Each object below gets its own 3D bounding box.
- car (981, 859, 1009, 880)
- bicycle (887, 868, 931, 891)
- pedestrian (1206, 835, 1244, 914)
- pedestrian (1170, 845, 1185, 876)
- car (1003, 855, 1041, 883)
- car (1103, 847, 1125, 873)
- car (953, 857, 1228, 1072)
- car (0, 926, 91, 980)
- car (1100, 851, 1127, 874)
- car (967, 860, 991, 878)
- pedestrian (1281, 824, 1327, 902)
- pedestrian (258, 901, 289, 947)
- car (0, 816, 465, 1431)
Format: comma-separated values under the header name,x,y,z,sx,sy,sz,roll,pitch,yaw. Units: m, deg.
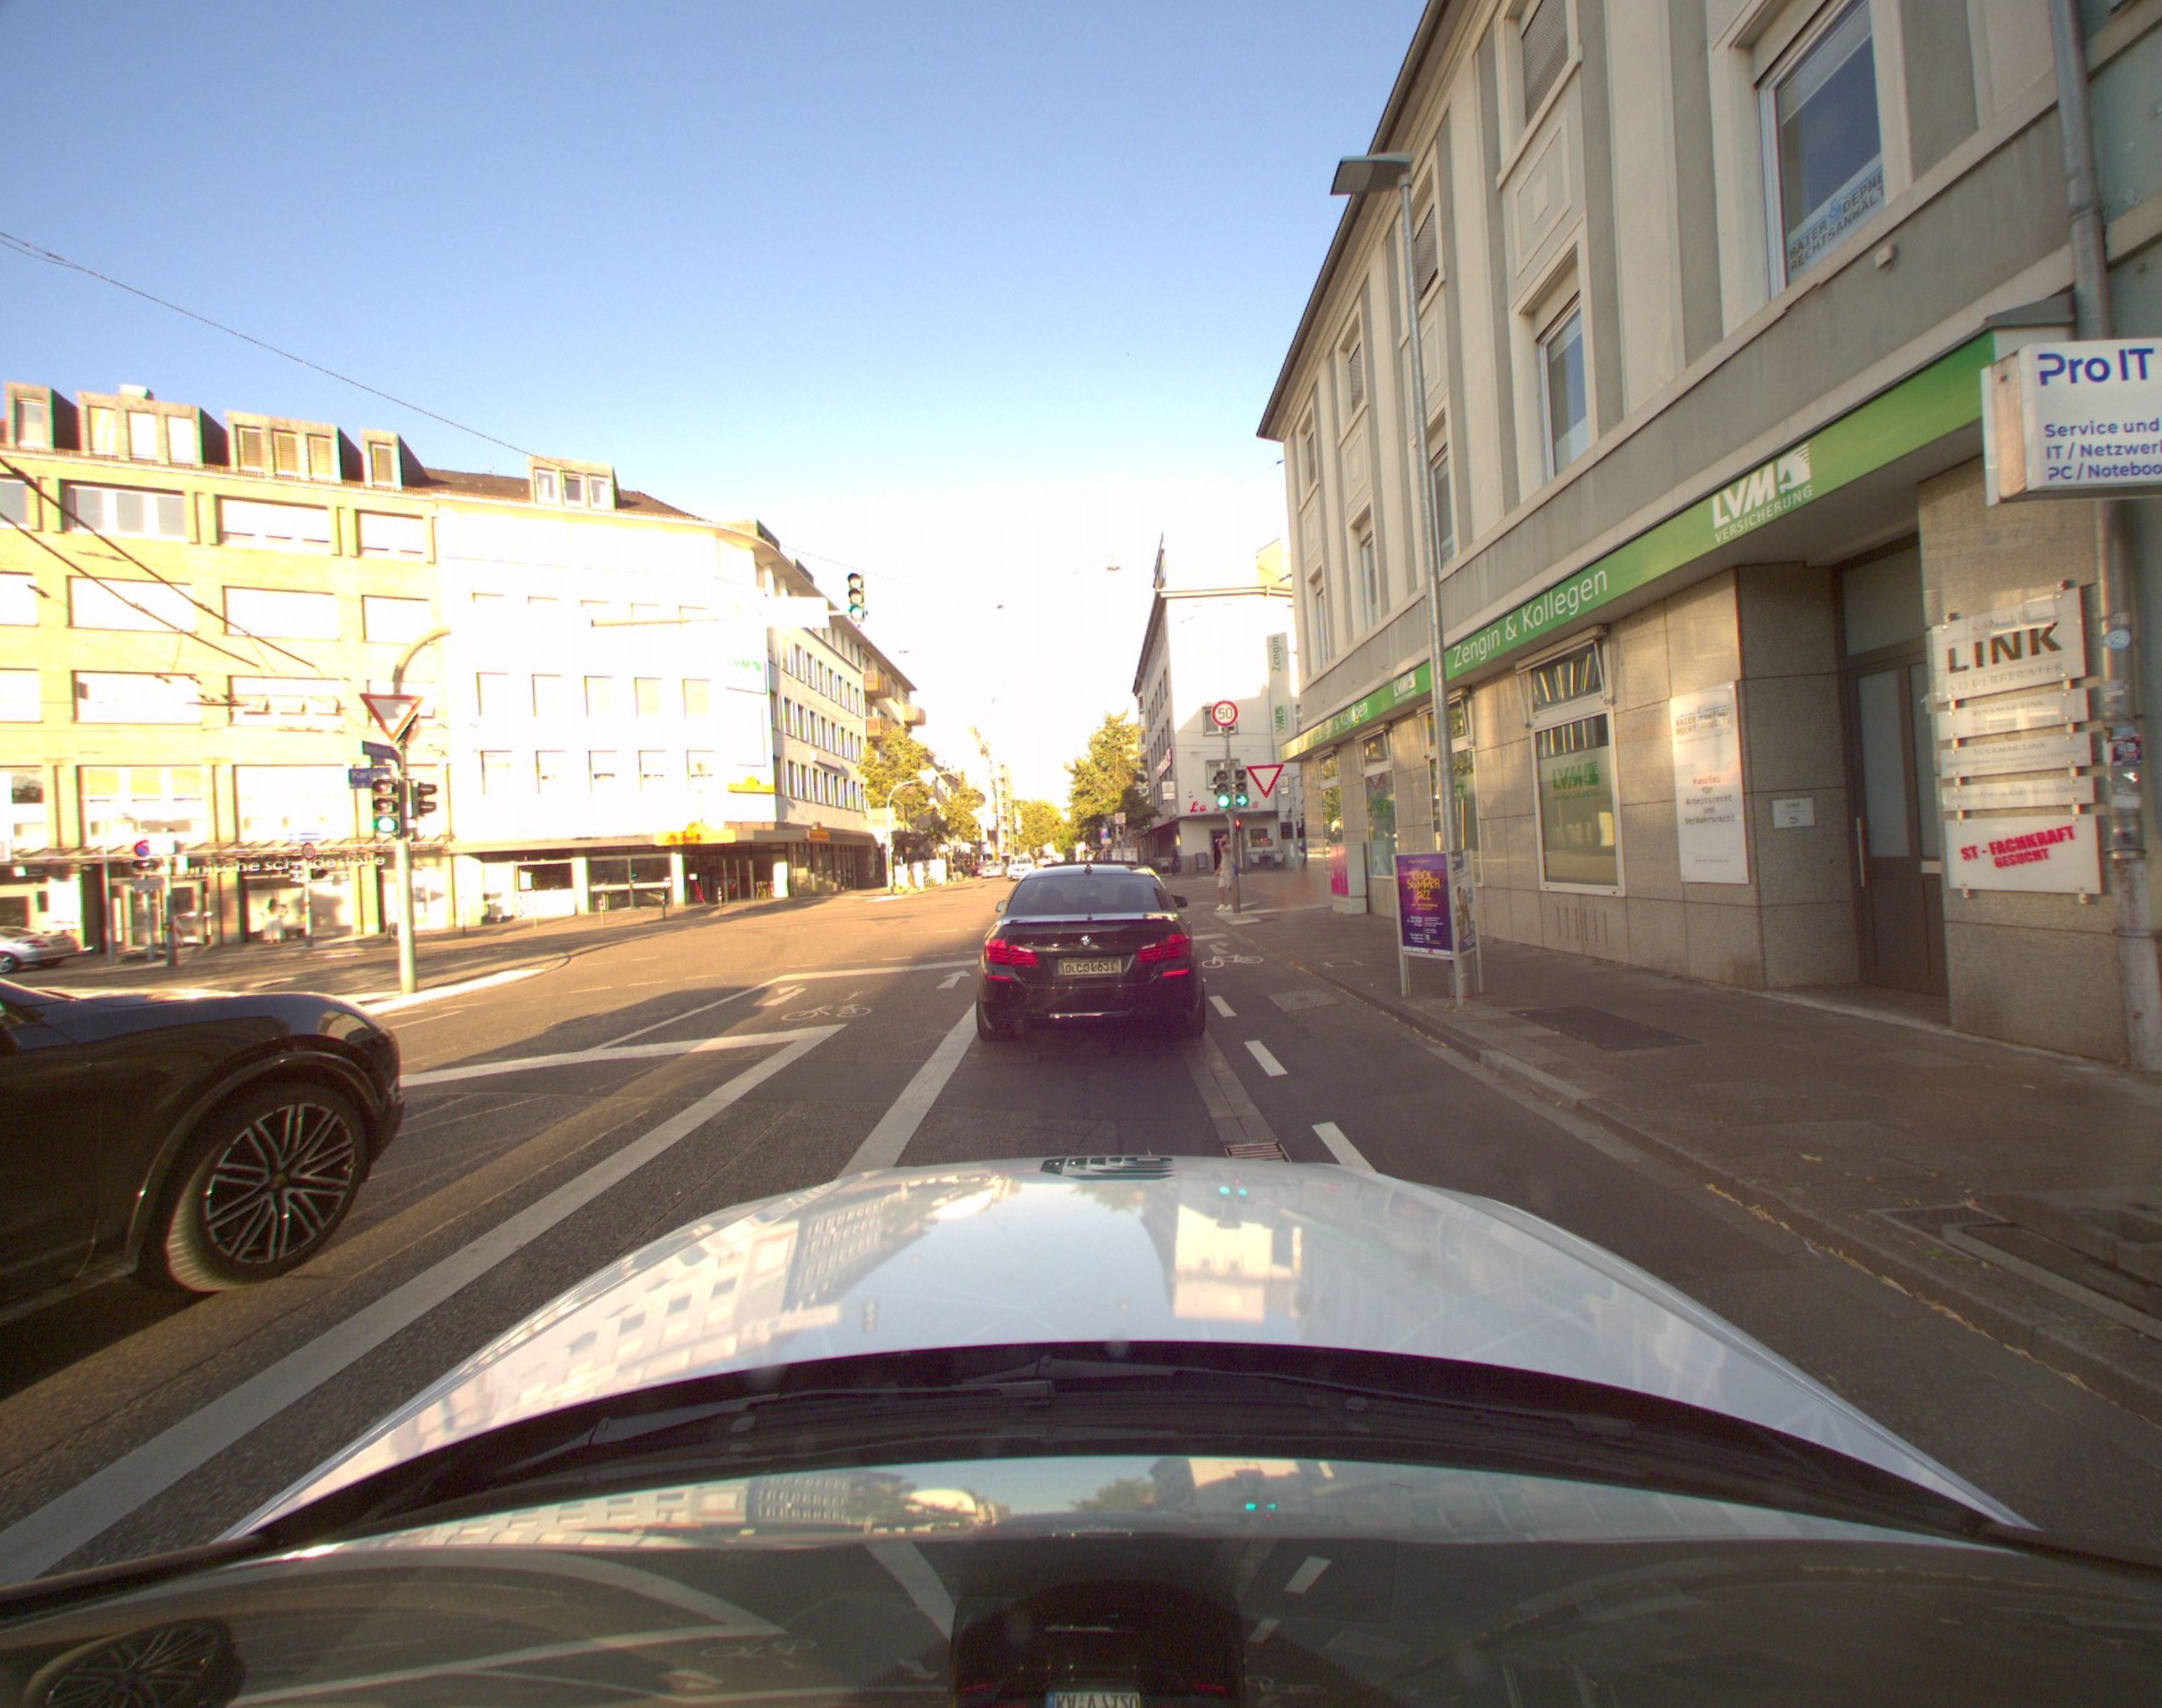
name,x,y,z,sx,sy,sz,roll,pitch,yaw
car,-7.026,1.289,66.729,1.830,1.556,3.777,-4,-1,-2
bicycle,-10.025,1.495,47.539,2.363,1.253,0.639,-2,-1,-5
pedestrian,3.298,0.457,18.699,0.650,1.742,0.694,-3,0,-1
pedestrian,5.393,0.339,45.576,0.709,1.676,0.703,-3,0,-1
car,-3.699,0.951,51.460,2.102,1.556,4.010,-4,-1,-2
car,2.506,0.420,61.352,1.633,1.873,3.609,0,1,3
car,0.125,0.802,8.069,1.946,1.498,4.466,-1,0,1
car,-31.042,2.907,23.048,3.393,1.253,1.625,-4,3,-24
car,2.211,0.551,54.674,1.633,1.444,3.609,-4,0,3
car,-9.939,1.495,79.253,1.830,1.556,3.777,-4,-1,-2
pedestrian,5.489,0.211,20.080,0.873,1.827,0.694,-4,-1,5
pedestrian,-27.773,2.396,28.018,0.628,1.471,0.537,-5,4,-39
car,-3.926,0.782,1.614,1.794,1.698,4.570,-3,0,1
